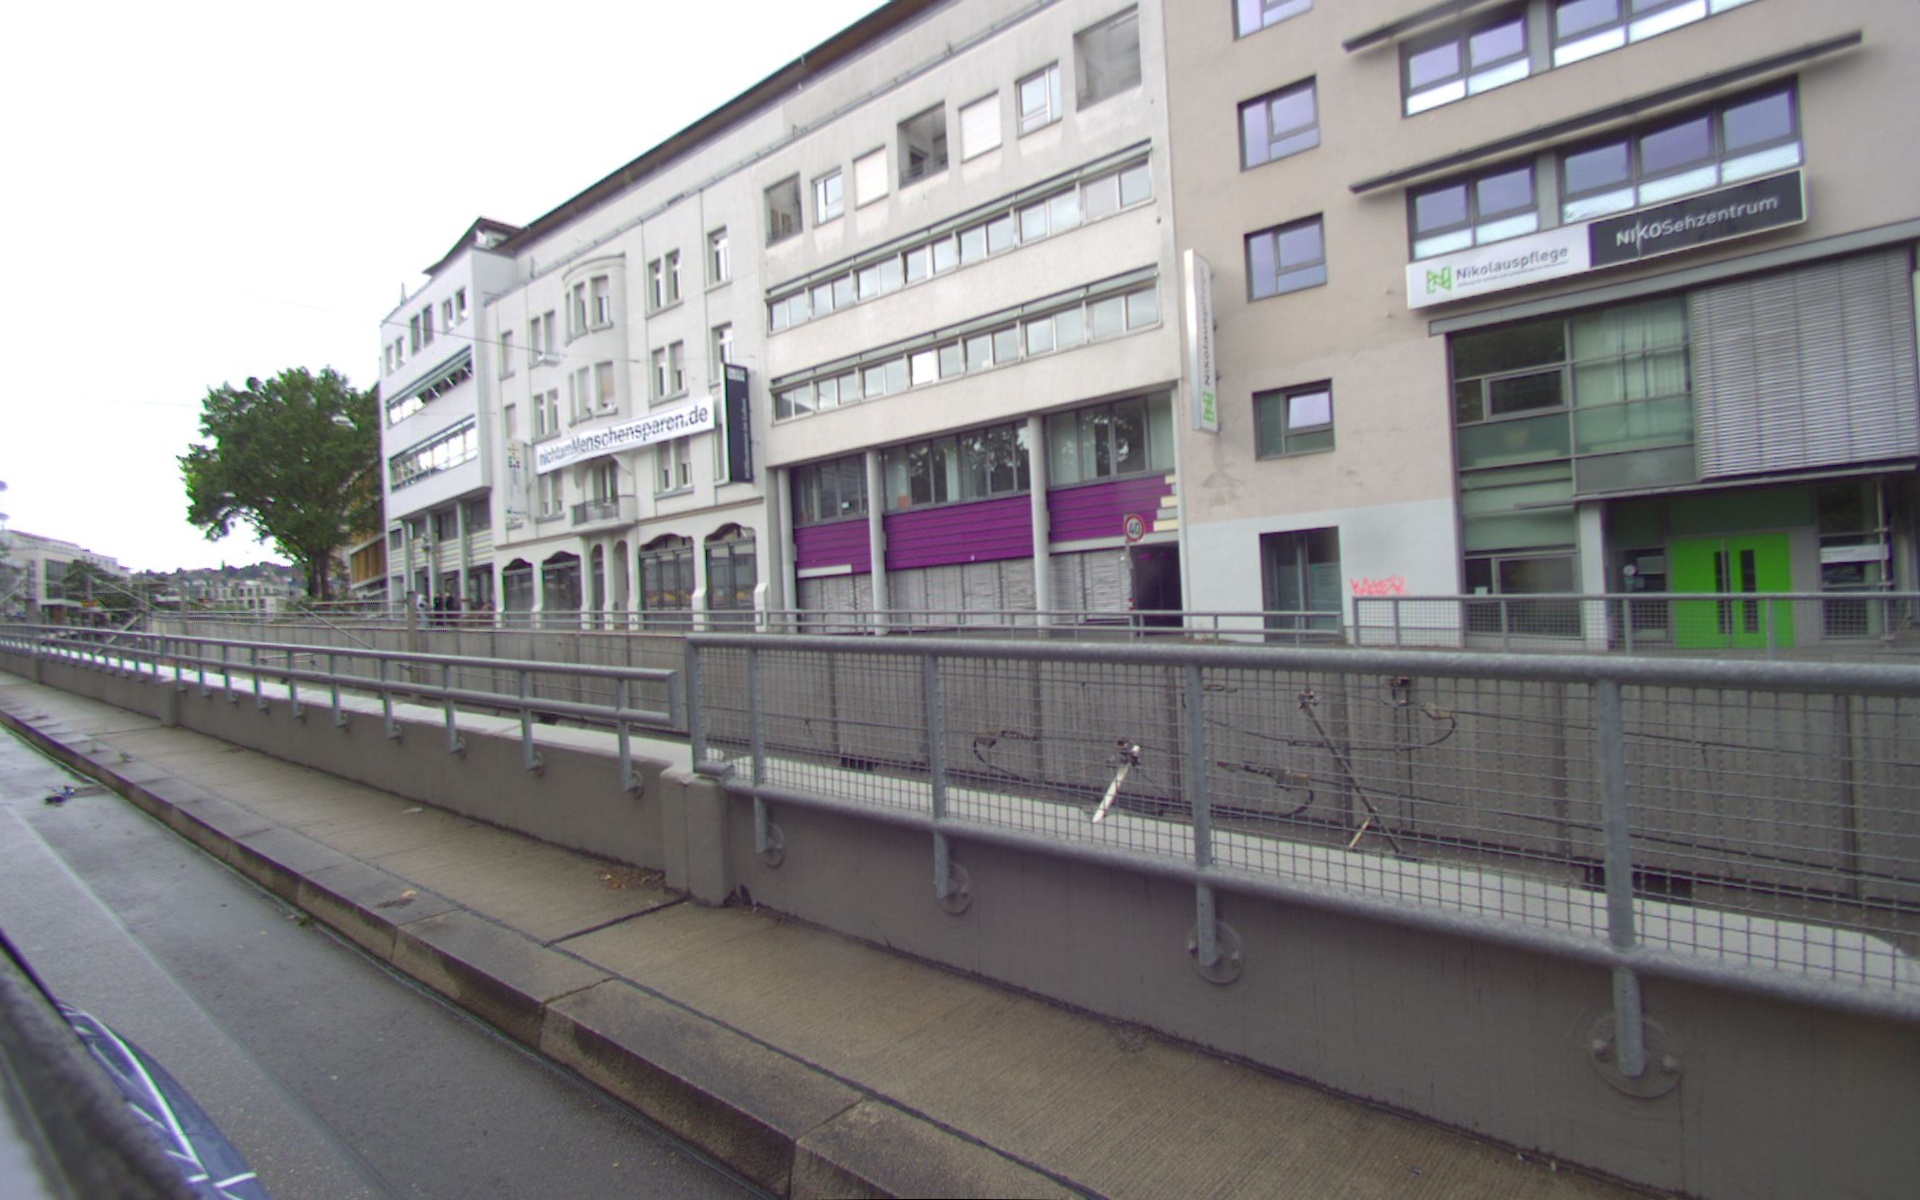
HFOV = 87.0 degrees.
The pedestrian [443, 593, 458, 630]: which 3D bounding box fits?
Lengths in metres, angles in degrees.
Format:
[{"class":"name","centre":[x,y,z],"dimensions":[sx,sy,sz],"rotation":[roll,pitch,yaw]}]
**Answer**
[{"class":"pedestrian","centre":[-25.422,0.596,50.479],"dimensions":[0.547,1.816,0.463],"rotation":[-2,1,44]}]

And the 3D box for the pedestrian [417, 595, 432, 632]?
[{"class":"pedestrian","centre":[-26.726,0.692,50.529],"dimensions":[0.463,1.816,0.548],"rotation":[-3,1,-42]}]

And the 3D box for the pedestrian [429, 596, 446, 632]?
[{"class":"pedestrian","centre":[-26.436,0.695,51.228],"dimensions":[0.469,1.816,0.541],"rotation":[-2,1,33]}]
